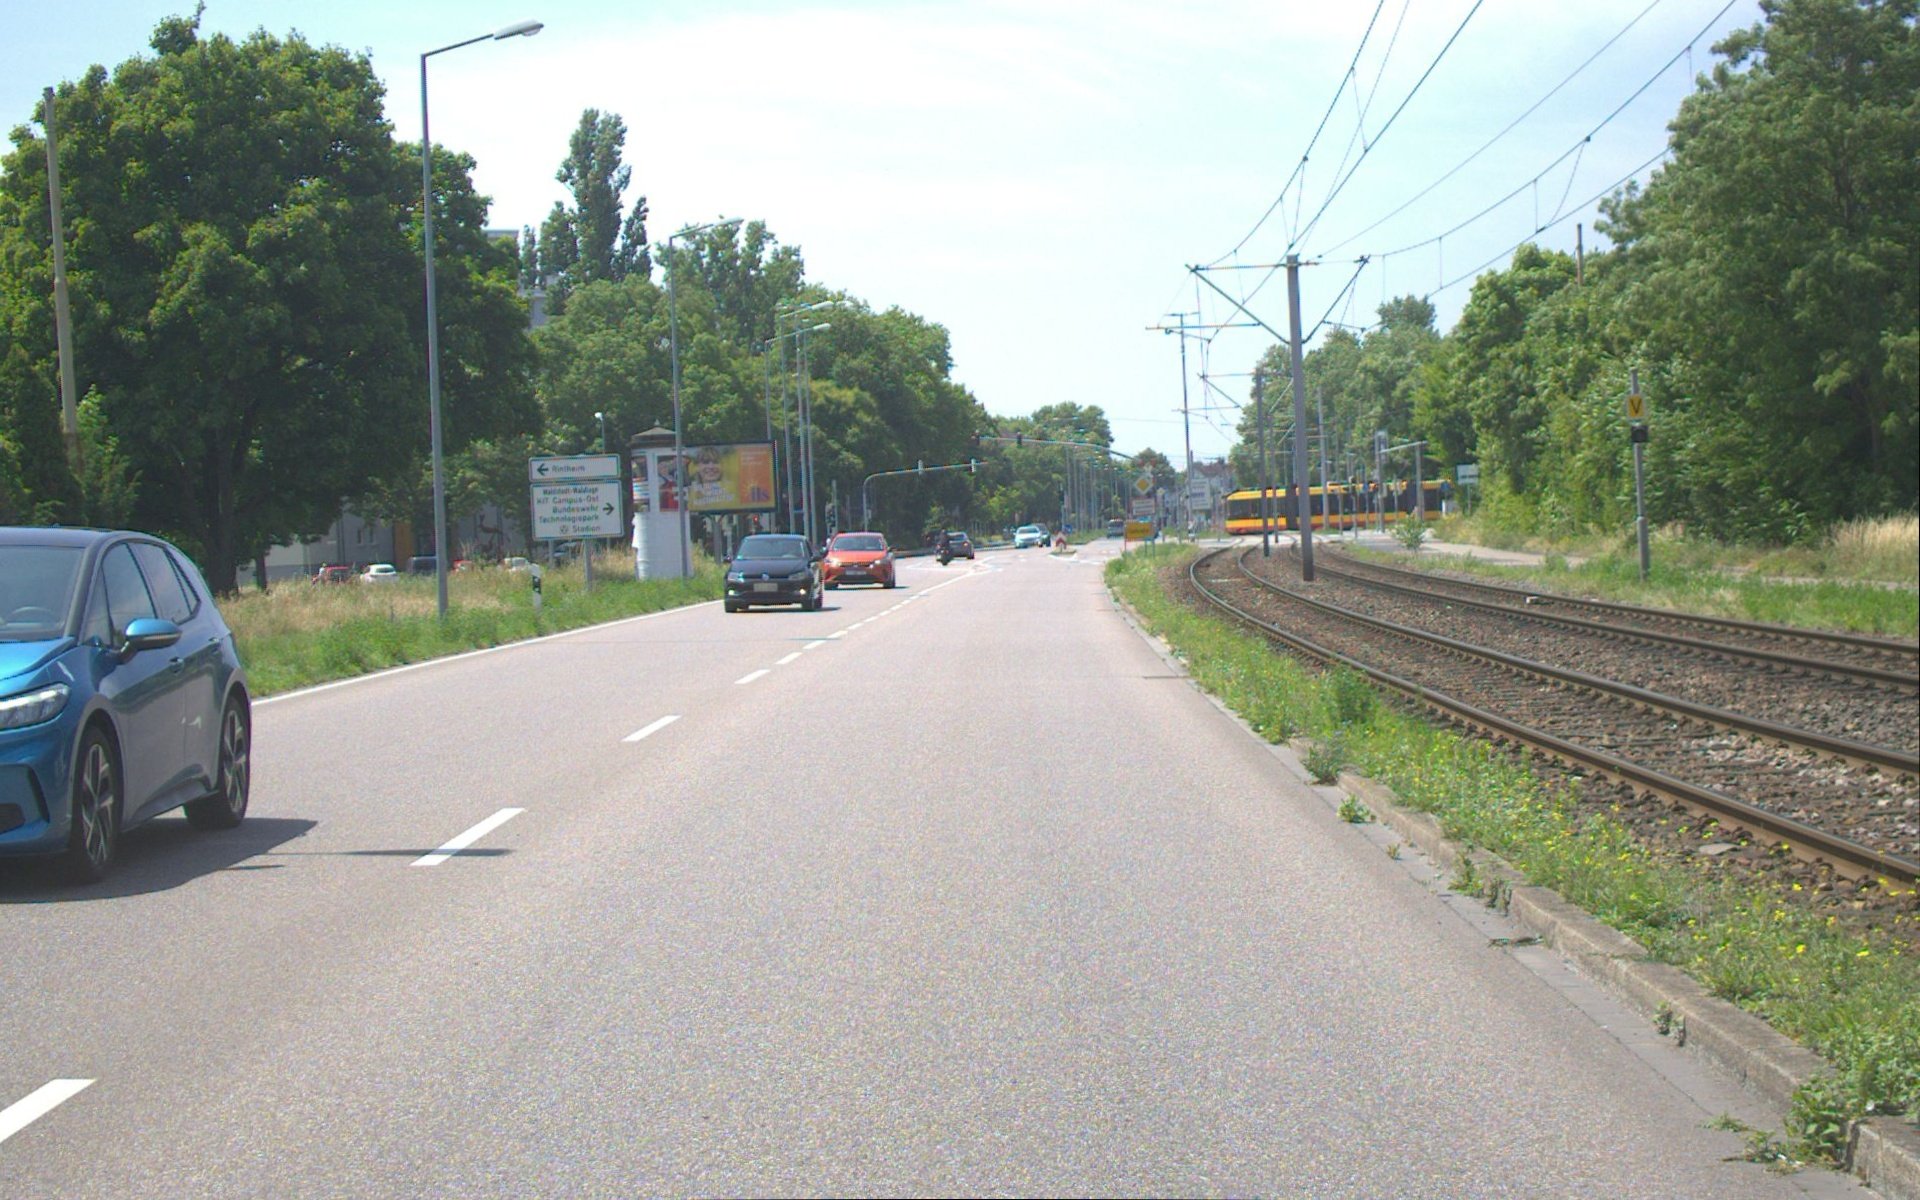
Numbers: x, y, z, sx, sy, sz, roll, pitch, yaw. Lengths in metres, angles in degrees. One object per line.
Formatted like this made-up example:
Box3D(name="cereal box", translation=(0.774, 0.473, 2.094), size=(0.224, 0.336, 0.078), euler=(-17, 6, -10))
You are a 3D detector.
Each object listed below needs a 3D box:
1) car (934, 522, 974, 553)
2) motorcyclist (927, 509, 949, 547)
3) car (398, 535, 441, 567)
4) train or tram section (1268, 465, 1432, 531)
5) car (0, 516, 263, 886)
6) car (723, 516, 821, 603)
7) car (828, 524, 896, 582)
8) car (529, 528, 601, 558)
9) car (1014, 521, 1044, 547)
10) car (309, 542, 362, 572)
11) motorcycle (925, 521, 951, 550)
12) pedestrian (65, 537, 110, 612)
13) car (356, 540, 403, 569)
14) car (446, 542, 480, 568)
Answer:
Box3D(name="car", translation=(-0.288, -3.165, 173.679), size=(1.906, 1.493, 4.630), euler=(-1, 1, 1))
Box3D(name="motorcyclist", translation=(-0.941, -3.115, 148.778), size=(0.790, 1.637, 1.211), euler=(-1, 1, 6))
Box3D(name="car", translation=(-31.223, -2.820, 198.608), size=(1.704, 1.794, 4.001), euler=(-2, 1, -19))
Box3D(name="train or tram section", translation=(27.956, -7.291, 247.455), size=(2.915, 3.906, 13.960), euler=(0, -2, -37))
Box3D(name="car", translation=(-4.528, 0.377, 15.955), size=(1.815, 1.500, 4.000), euler=(-1, 1, -1))
Box3D(name="car", translation=(-3.533, -0.797, 65.244), size=(1.684, 1.564, 3.968), euler=(-1, 1, -1))
Box3D(name="car", translation=(-2.485, -1.220, 87.785), size=(1.679, 1.394, 4.000), euler=(-1, 1, -1))
Box3D(name="car", translation=(-25.880, -3.725, 225.400), size=(1.790, 1.762, 4.538), euler=(-1, 2, 44))
Box3D(name="car", translation=(4.679, -4.439, 231.523), size=(1.784, 1.623, 3.865), euler=(-3, 1, 4))
Box3D(name="car", translation=(-35.869, -2.493, 197.393), size=(1.846, 1.662, 4.001), euler=(-2, 2, -27))
Box3D(name="motorcycle", translation=(-0.933, -2.801, 148.801), size=(0.847, 1.251, 2.449), euler=(-1, 1, 5))
Box3D(name="pedestrian", translation=(-15.971, -0.470, 62.939), size=(0.581, 1.350, 0.798), euler=(-1, 1, 1))
Box3D(name="car", translation=(-33.424, -2.628, 197.843), size=(1.704, 1.586, 4.001), euler=(-2, 1, -23))
Box3D(name="car", translation=(-28.824, -2.624, 199.267), size=(1.617, 1.459, 4.001), euler=(-2, 1, -13))
